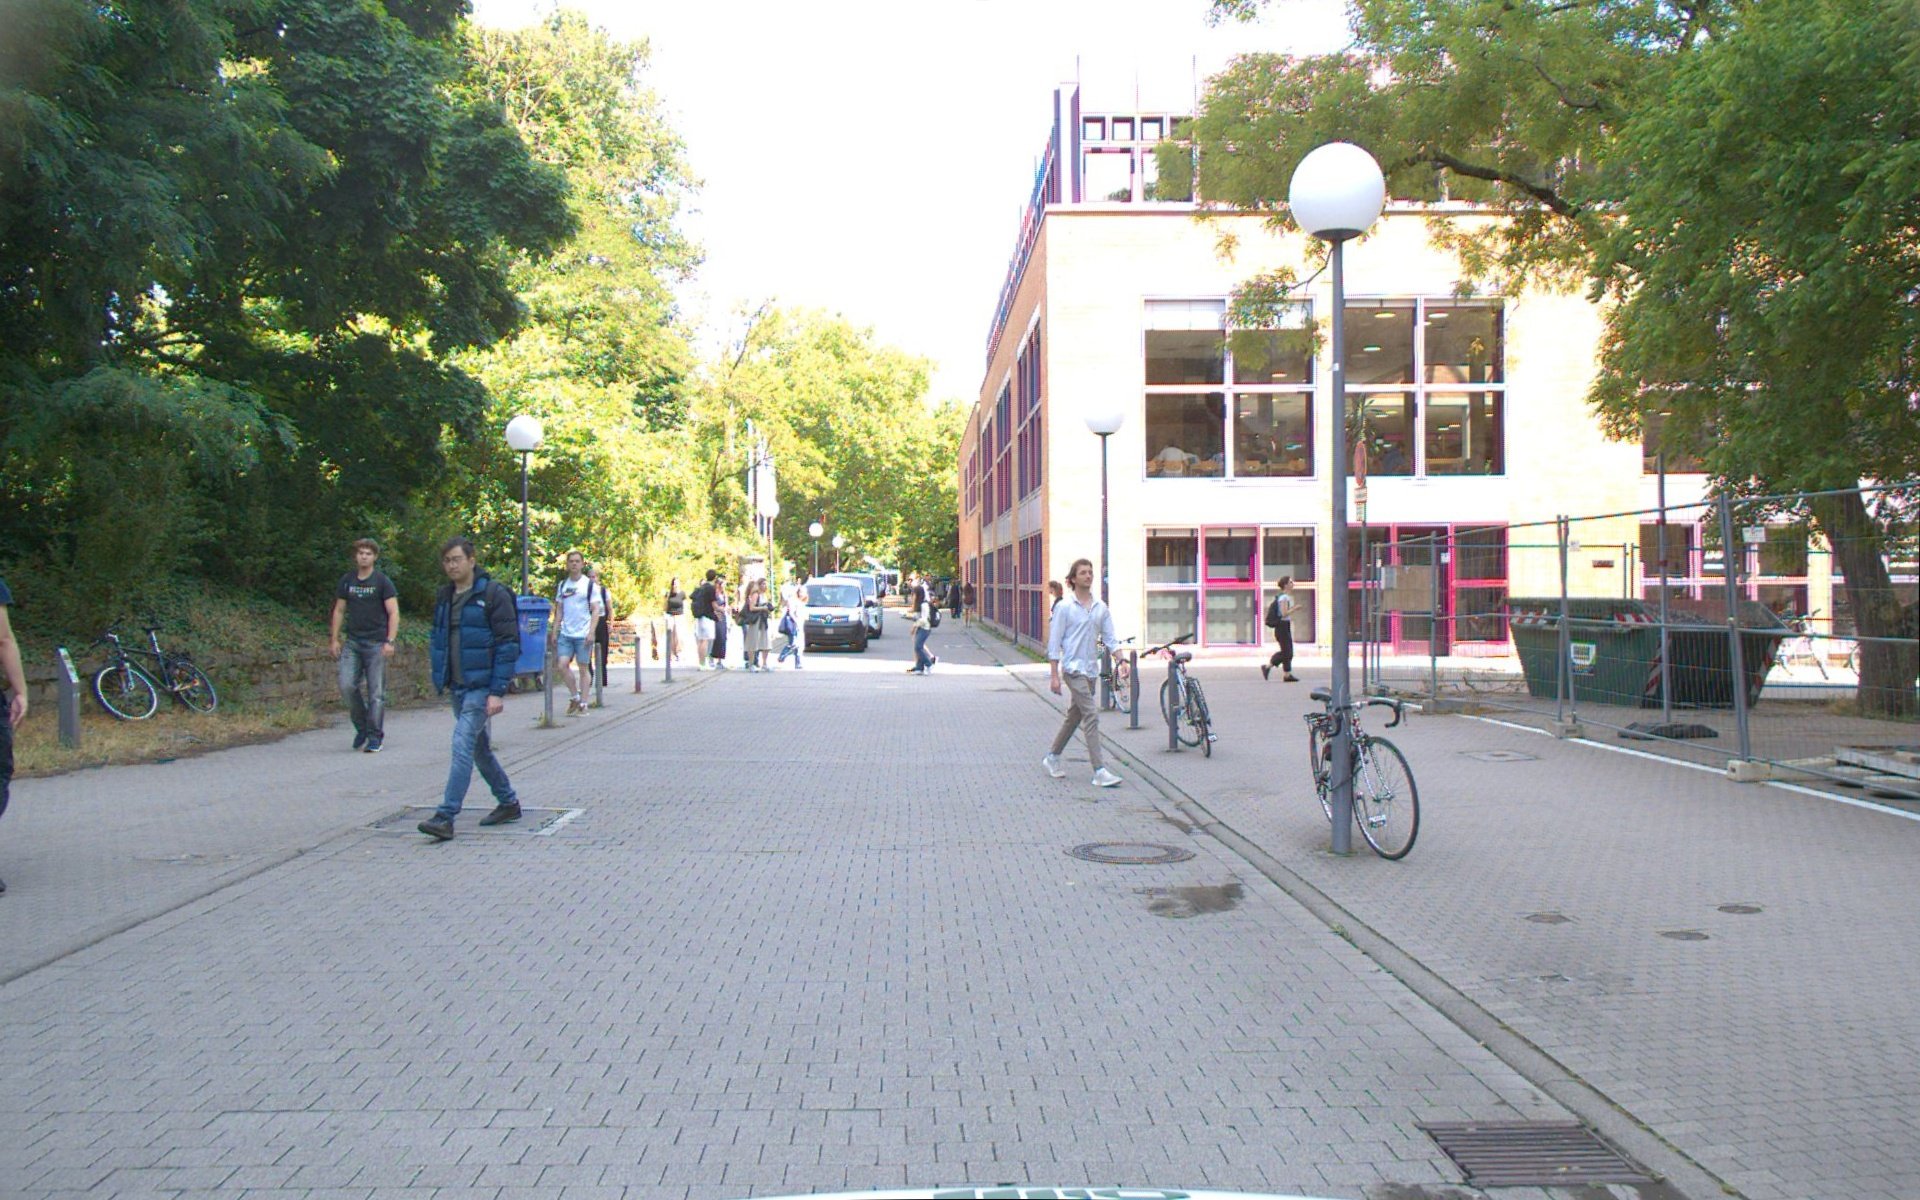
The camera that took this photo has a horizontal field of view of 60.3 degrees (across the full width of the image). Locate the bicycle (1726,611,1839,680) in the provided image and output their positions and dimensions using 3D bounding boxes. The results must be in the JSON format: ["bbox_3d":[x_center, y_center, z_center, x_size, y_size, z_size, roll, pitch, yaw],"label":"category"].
[{"bbox_3d":[13.919,0.765,28.006,1.659,1.129,0.474,1,0,1],"label":"bicycle"}]

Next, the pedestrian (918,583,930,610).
[{"bbox_3d":[-2.308,-0.212,105.325,0.710,1.702,0.748,-1,-1,-1],"label":"pedestrian"}]

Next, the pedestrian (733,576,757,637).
[{"bbox_3d":[-6.707,0.201,51.609,0.669,1.876,0.783,0,-1,-2],"label":"pedestrian"}]

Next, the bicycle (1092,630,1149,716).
[{"bbox_3d":[2.025,0.905,21.049,0.441,0.978,1.739,-3,0,-2],"label":"bicycle"}]

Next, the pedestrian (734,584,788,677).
[{"bbox_3d":[-3.689,0.567,30.679,0.867,1.702,0.559,0,-1,6],"label":"pedestrian"}]

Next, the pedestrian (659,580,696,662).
[{"bbox_3d":[-5.802,0.435,33.966,0.669,1.649,0.977,0,-1,-6],"label":"pedestrian"}]

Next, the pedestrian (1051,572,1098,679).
[{"bbox_3d":[1.999,0.448,28.791,0.750,1.826,0.588,-2,-1,6],"label":"pedestrian"}]

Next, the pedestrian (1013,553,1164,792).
[{"bbox_3d":[1.046,0.565,13.638,0.773,1.877,1.109,1,0,-26],"label":"pedestrian"}]

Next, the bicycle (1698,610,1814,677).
[{"bbox_3d":[14.011,0.758,29.133,1.772,1.129,0.524,1,0,2],"label":"bicycle"}]

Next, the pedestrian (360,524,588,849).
[{"bbox_3d":[-3.007,0.499,10.276,0.869,1.890,1.030,1,0,31],"label":"pedestrian"}]

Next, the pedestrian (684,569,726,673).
[{"bbox_3d":[-4.673,0.390,30.355,0.669,1.876,0.783,0,-1,-2],"label":"pedestrian"}]

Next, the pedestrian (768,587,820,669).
[{"bbox_3d":[-3.211,0.531,32.033,0.867,1.569,0.743,0,0,6],"label":"pedestrian"}]

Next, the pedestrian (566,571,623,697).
[{"bbox_3d":[-5.200,0.472,23.553,0.669,1.758,1.001,0,0,-6],"label":"pedestrian"}]

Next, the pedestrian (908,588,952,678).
[{"bbox_3d":[-0.558,0.604,30.645,0.765,1.649,0.684,0,-1,-4],"label":"pedestrian"}]

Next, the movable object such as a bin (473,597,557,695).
[{"bbox_3d":[-6.421,0.644,23.931,0.694,1.359,1.240,2,0,8],"label":"movable object such as a bin"}]

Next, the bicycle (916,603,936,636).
[{"bbox_3d":[-1.182,0.665,57.188,0.575,1.102,1.906,0,0,-5],"label":"bicycle"}]

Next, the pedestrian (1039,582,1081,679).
[{"bbox_3d":[1.788,0.540,29.550,0.682,1.702,0.588,-2,-1,6],"label":"pedestrian"}]

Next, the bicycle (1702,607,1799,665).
[{"bbox_3d":[15.796,0.716,33.046,1.772,1.129,0.473,1,0,-8],"label":"bicycle"}]

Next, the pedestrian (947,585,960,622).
[{"bbox_3d":[-0.330,0.171,78.462,0.574,1.702,0.817,-1,-1,0],"label":"pedestrian"}]

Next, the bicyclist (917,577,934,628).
[{"bbox_3d":[-1.200,0.087,57.369,0.575,1.746,0.665,0,0,-5],"label":"bicyclist"}]

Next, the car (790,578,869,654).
[{"bbox_3d":[-3.241,0.370,41.739,1.754,1.792,4.480,-1,0,-2],"label":"car"}]

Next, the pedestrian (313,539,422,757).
[{"bbox_3d":[-5.354,0.425,15.005,0.669,1.905,1.119,0,-1,-6],"label":"pedestrian"}]

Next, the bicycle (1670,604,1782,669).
[{"bbox_3d":[13.788,0.655,29.788,1.773,1.129,0.523,1,0,-3],"label":"bicycle"}]

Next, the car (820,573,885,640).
[{"bbox_3d":[-3.332,0.176,51.995,1.845,2.008,5.213,0,0,-2],"label":"car"}]

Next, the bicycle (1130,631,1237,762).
[{"bbox_3d":[2.061,0.869,15.461,0.694,1.112,1.748,0,0,-2],"label":"bicycle"}]

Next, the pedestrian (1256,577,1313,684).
[{"bbox_3d":[5.169,0.479,26.370,0.834,1.680,0.588,0,-1,6],"label":"pedestrian"}]

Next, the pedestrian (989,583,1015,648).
[{"bbox_3d":[1.152,0.422,45.809,0.669,1.778,0.783,0,-1,-2],"label":"pedestrian"}]

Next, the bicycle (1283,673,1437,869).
[{"bbox_3d":[2.318,0.957,9.743,0.387,0.952,1.731,-2,0,-2],"label":"bicycle"}]

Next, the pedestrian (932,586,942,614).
[{"bbox_3d":[-1.585,0.004,116.158,0.640,1.956,0.817,-1,-1,0],"label":"pedestrian"}]

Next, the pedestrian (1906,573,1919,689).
[{"bbox_3d":[15.058,0.469,25.144,0.884,1.759,0.683,0,-2,-7],"label":"pedestrian"}]

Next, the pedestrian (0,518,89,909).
[{"bbox_3d":[-4.657,0.504,7.767,0.670,1.754,0.903,1,0,-4],"label":"pedestrian"}]

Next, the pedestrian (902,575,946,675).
[{"bbox_3d":[-0.692,0.478,31.503,0.809,1.876,0.684,0,-1,-4],"label":"pedestrian"}]

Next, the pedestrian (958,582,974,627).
[{"bbox_3d":[0.250,0.178,64.587,0.574,1.702,0.699,-1,-1,0],"label":"pedestrian"}]

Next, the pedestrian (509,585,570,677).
[{"bbox_3d":[-7.588,0.553,29.863,0.896,1.639,0.571,0,-1,15],"label":"pedestrian"}]

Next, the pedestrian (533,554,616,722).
[{"bbox_3d":[-4.526,0.438,19.496,0.709,1.914,1.082,0,-1,0],"label":"pedestrian"}]

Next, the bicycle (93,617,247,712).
[{"bbox_3d":[-8.049,0.647,16.932,0.412,0.926,1.741,0,-1,13],"label":"bicycle"}]
